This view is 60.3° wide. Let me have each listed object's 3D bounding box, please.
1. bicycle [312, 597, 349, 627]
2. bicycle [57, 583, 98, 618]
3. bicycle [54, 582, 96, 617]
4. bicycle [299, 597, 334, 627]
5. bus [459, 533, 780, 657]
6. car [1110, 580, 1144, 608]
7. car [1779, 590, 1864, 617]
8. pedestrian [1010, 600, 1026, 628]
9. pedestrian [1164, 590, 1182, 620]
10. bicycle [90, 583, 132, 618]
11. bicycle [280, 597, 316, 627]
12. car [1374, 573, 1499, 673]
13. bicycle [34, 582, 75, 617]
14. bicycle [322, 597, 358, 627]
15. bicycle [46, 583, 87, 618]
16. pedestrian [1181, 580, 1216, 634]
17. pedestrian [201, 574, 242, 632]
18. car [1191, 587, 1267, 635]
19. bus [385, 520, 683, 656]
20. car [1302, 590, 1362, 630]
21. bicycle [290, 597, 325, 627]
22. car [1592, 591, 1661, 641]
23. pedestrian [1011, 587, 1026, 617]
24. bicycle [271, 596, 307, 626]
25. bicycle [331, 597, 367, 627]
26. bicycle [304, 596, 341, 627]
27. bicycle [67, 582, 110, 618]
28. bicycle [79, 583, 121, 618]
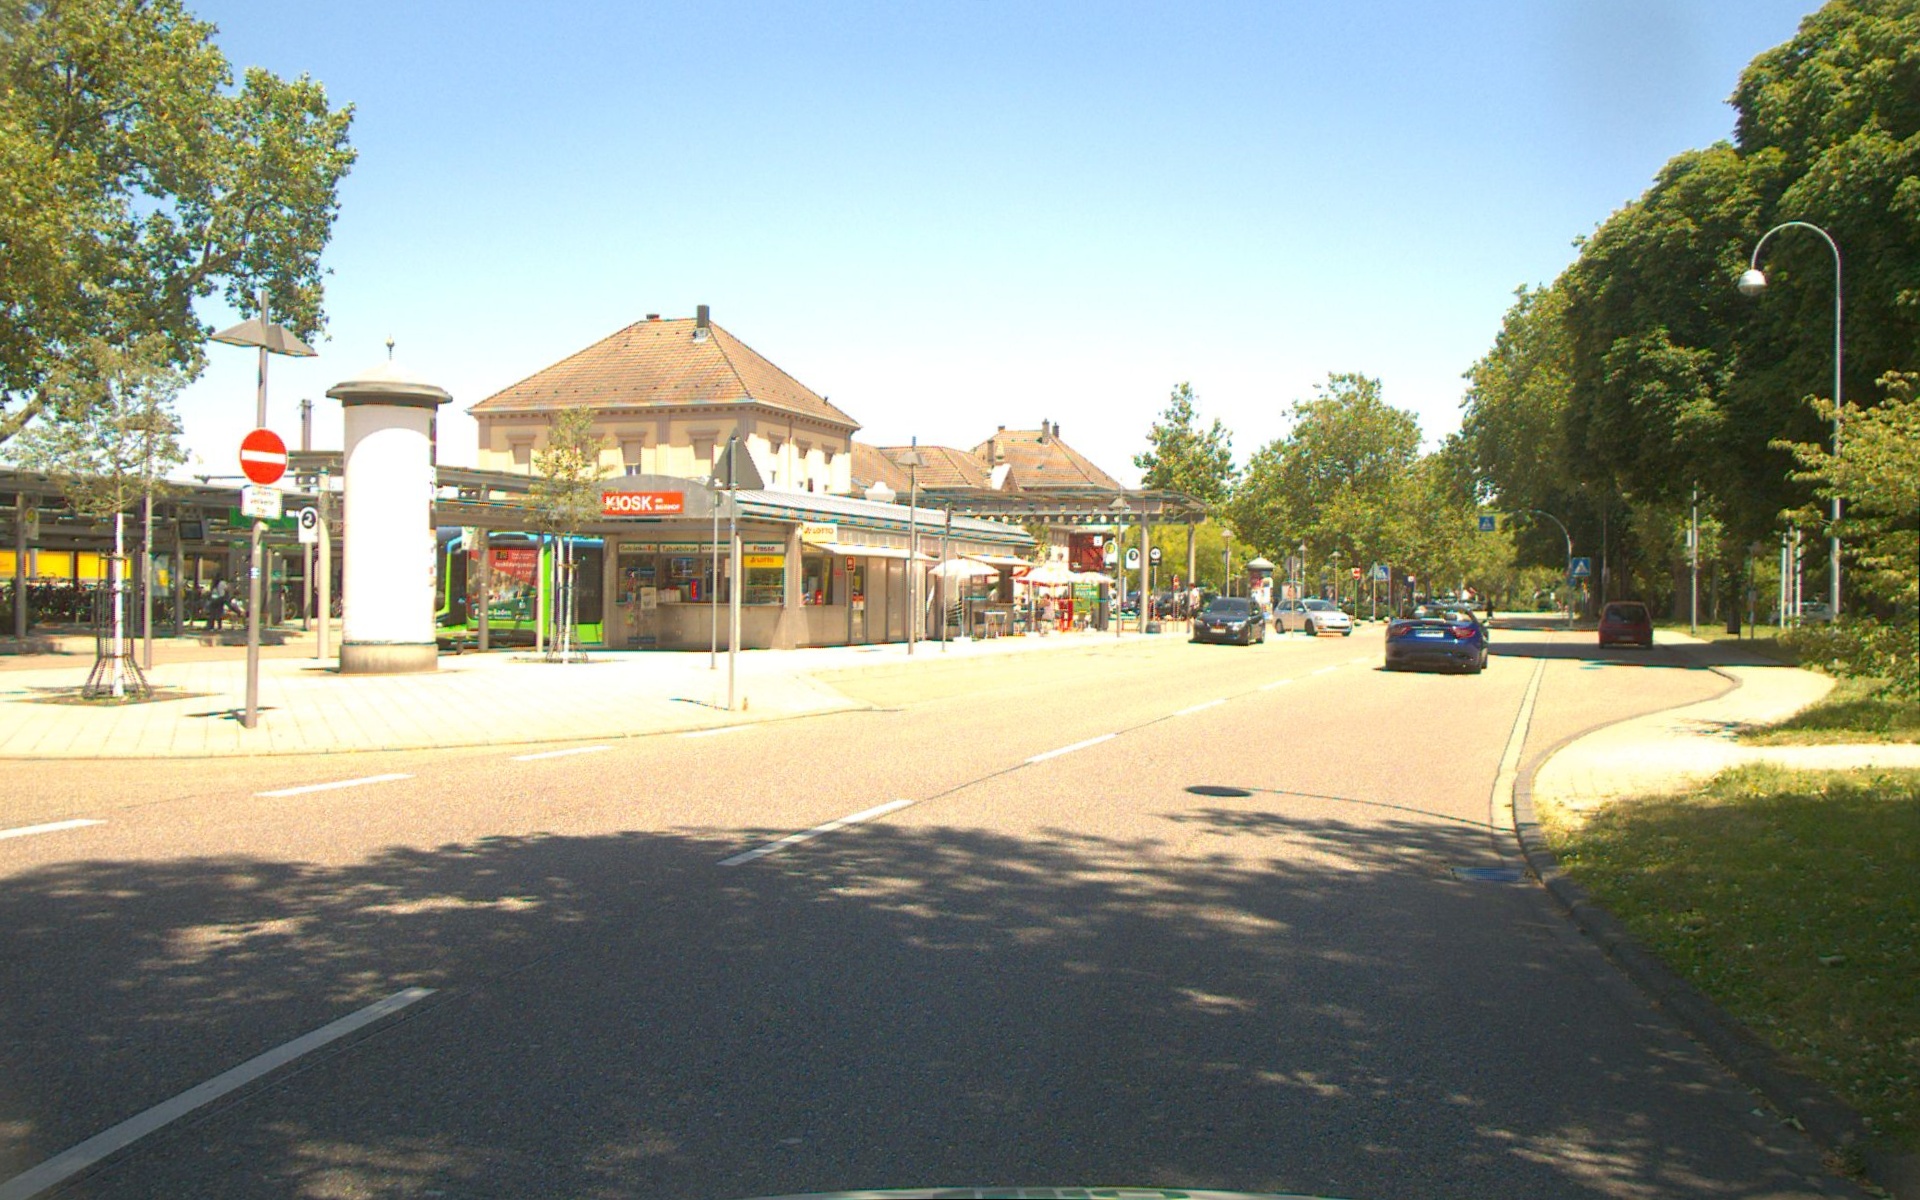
[{"bbox_3d":[-23.430,0.437,61.558,1.353,1.113,0.386,0,0,22],"label":"bicycle"},{"bbox_3d":[-28.930,0.018,54.230,1.353,1.113,0.386,0,-2,22],"label":"bicycle"},{"bbox_3d":[-28.095,-0.011,52.506,1.353,1.113,0.386,0,-2,22],"label":"bicycle"},{"bbox_3d":[-24.531,0.453,63.054,1.353,1.113,0.386,0,0,22],"label":"bicycle"},{"bbox_3d":[-9.364,-0.110,48.377,2.619,3.094,13.898,0,0,18],"label":"bus"},{"bbox_3d":[13.321,-0.495,131.630,1.951,2.048,4.003,0,2,18],"label":"car"},{"bbox_3d":[48.644,0.169,93.462,4.019,1.492,2.001,0,0,19],"label":"car"},{"bbox_3d":[2.111,0.510,60.176,0.417,0.989,0.371,0,-2,33],"label":"pedestrian"},{"bbox_3d":[12.162,0.298,94.564,0.748,1.688,0.718,0,-2,37],"label":"pedestrian"},{"bbox_3d":[-27.561,0.025,53.681,1.353,1.113,0.386,0,-2,22],"label":"bicycle"},{"bbox_3d":[-24.890,0.439,62.162,1.353,1.113,0.386,0,0,22],"label":"bicycle"},{"bbox_3d":[9.900,0.446,34.162,2.081,1.880,4.048,1,0,22],"label":"car"},{"bbox_3d":[-29.251,-0.006,53.432,1.353,1.113,0.386,0,-2,22],"label":"bicycle"},{"bbox_3d":[-23.253,0.447,62.045,1.353,1.113,0.386,0,0,22],"label":"bicycle"},{"bbox_3d":[-29.085,0.006,53.831,1.353,1.113,0.386,0,-2,22],"label":"bicycle"},{"bbox_3d":[8.410,0.241,58.288,0.786,1.860,1.137,0,-2,37],"label":"pedestrian"},{"bbox_3d":[-21.537,0.089,48.231,0.802,1.646,0.768,1,-2,1],"label":"pedestrian"},{"bbox_3d":[8.833,0.342,54.036,1.683,1.504,4.788,0,0,19],"label":"car"},{"bbox_3d":[-12.376,-0.352,49.914,2.117,3.587,12.225,1,0,20],"label":"bus"},{"bbox_3d":[14.918,0.380,66.180,1.777,1.469,4.159,-3,0,20],"label":"car"},{"bbox_3d":[-24.704,0.440,62.636,1.353,1.113,0.386,0,0,22],"label":"bicycle"},{"bbox_3d":[21.032,0.479,52.317,1.682,1.504,3.708,0,0,17],"label":"car"},{"bbox_3d":[3.372,0.107,94.971,0.647,1.702,0.626,2,-2,-26],"label":"pedestrian"},{"bbox_3d":[-25.058,0.421,61.762,1.353,1.113,0.386,0,0,22],"label":"bicycle"},{"bbox_3d":[-23.074,0.450,62.479,1.353,1.113,0.386,0,0,22],"label":"bicycle"},{"bbox_3d":[-23.579,0.413,61.153,1.372,1.119,0.367,0,-2,22],"label":"bicycle"},{"bbox_3d":[-27.889,0.002,52.925,1.353,1.113,0.386,0,-2,22],"label":"bicycle"},{"bbox_3d":[-27.718,0.014,53.297,1.353,1.113,0.386,0,-2,21],"label":"bicycle"}]
